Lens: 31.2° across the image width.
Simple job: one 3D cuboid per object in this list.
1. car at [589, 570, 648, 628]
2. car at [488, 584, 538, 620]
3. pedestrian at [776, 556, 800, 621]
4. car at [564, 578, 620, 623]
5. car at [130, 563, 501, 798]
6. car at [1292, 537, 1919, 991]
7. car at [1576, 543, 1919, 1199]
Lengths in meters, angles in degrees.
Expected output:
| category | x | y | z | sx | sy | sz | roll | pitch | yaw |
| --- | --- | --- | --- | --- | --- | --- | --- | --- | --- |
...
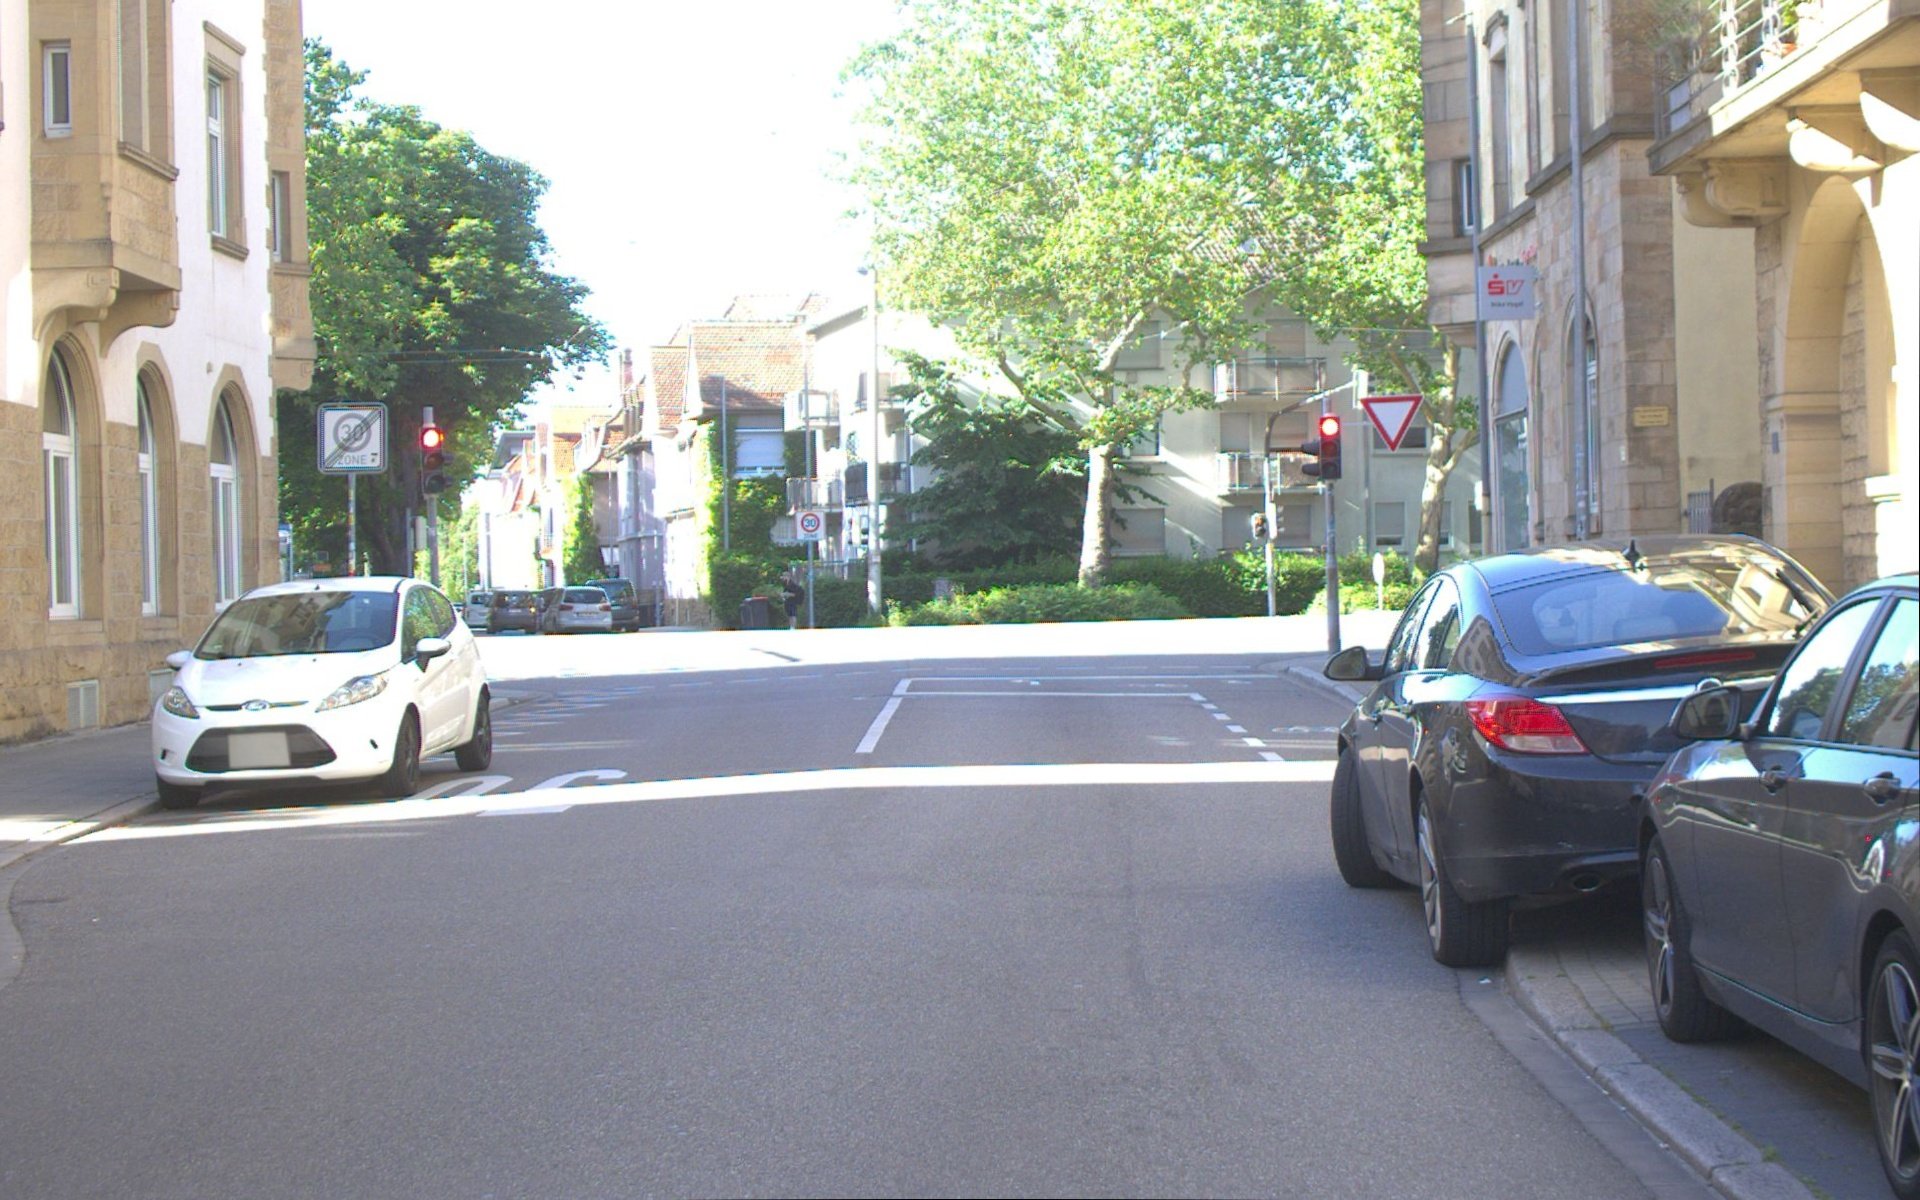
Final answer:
| category | x | y | z | sx | sy | sz | roll | pitch | yaw |
| --- | --- | --- | --- | --- | --- | --- | --- | --- | --- |
| car | -12.643 | -0.055 | 127.043 | 1.993 | 2.007 | 4.001 | -2 | 1 | -7 |
| car | -18.114 | 0.068 | 139.280 | 1.737 | 1.332 | 3.835 | -1 | 1 | -11 |
| pedestrian | -4.615 | -0.314 | 92.102 | 0.633 | 1.744 | 0.659 | 0 | 0 | -2 |
| car | -12.134 | 0.014 | 113.178 | 1.673 | 1.477 | 3.523 | 0 | 0 | -9 |
| car | -4.353 | 0.496 | 23.756 | 1.634 | 1.459 | 3.734 | -1 | 1 | 4 |
| car | 2.467 | 0.511 | 13.633 | 1.865 | 1.457 | 4.339 | -2 | 1 | 0 |
| car | 2.807 | 0.581 | 8.816 | 1.651 | 1.437 | 4.259 | -2 | 1 | 0 |
